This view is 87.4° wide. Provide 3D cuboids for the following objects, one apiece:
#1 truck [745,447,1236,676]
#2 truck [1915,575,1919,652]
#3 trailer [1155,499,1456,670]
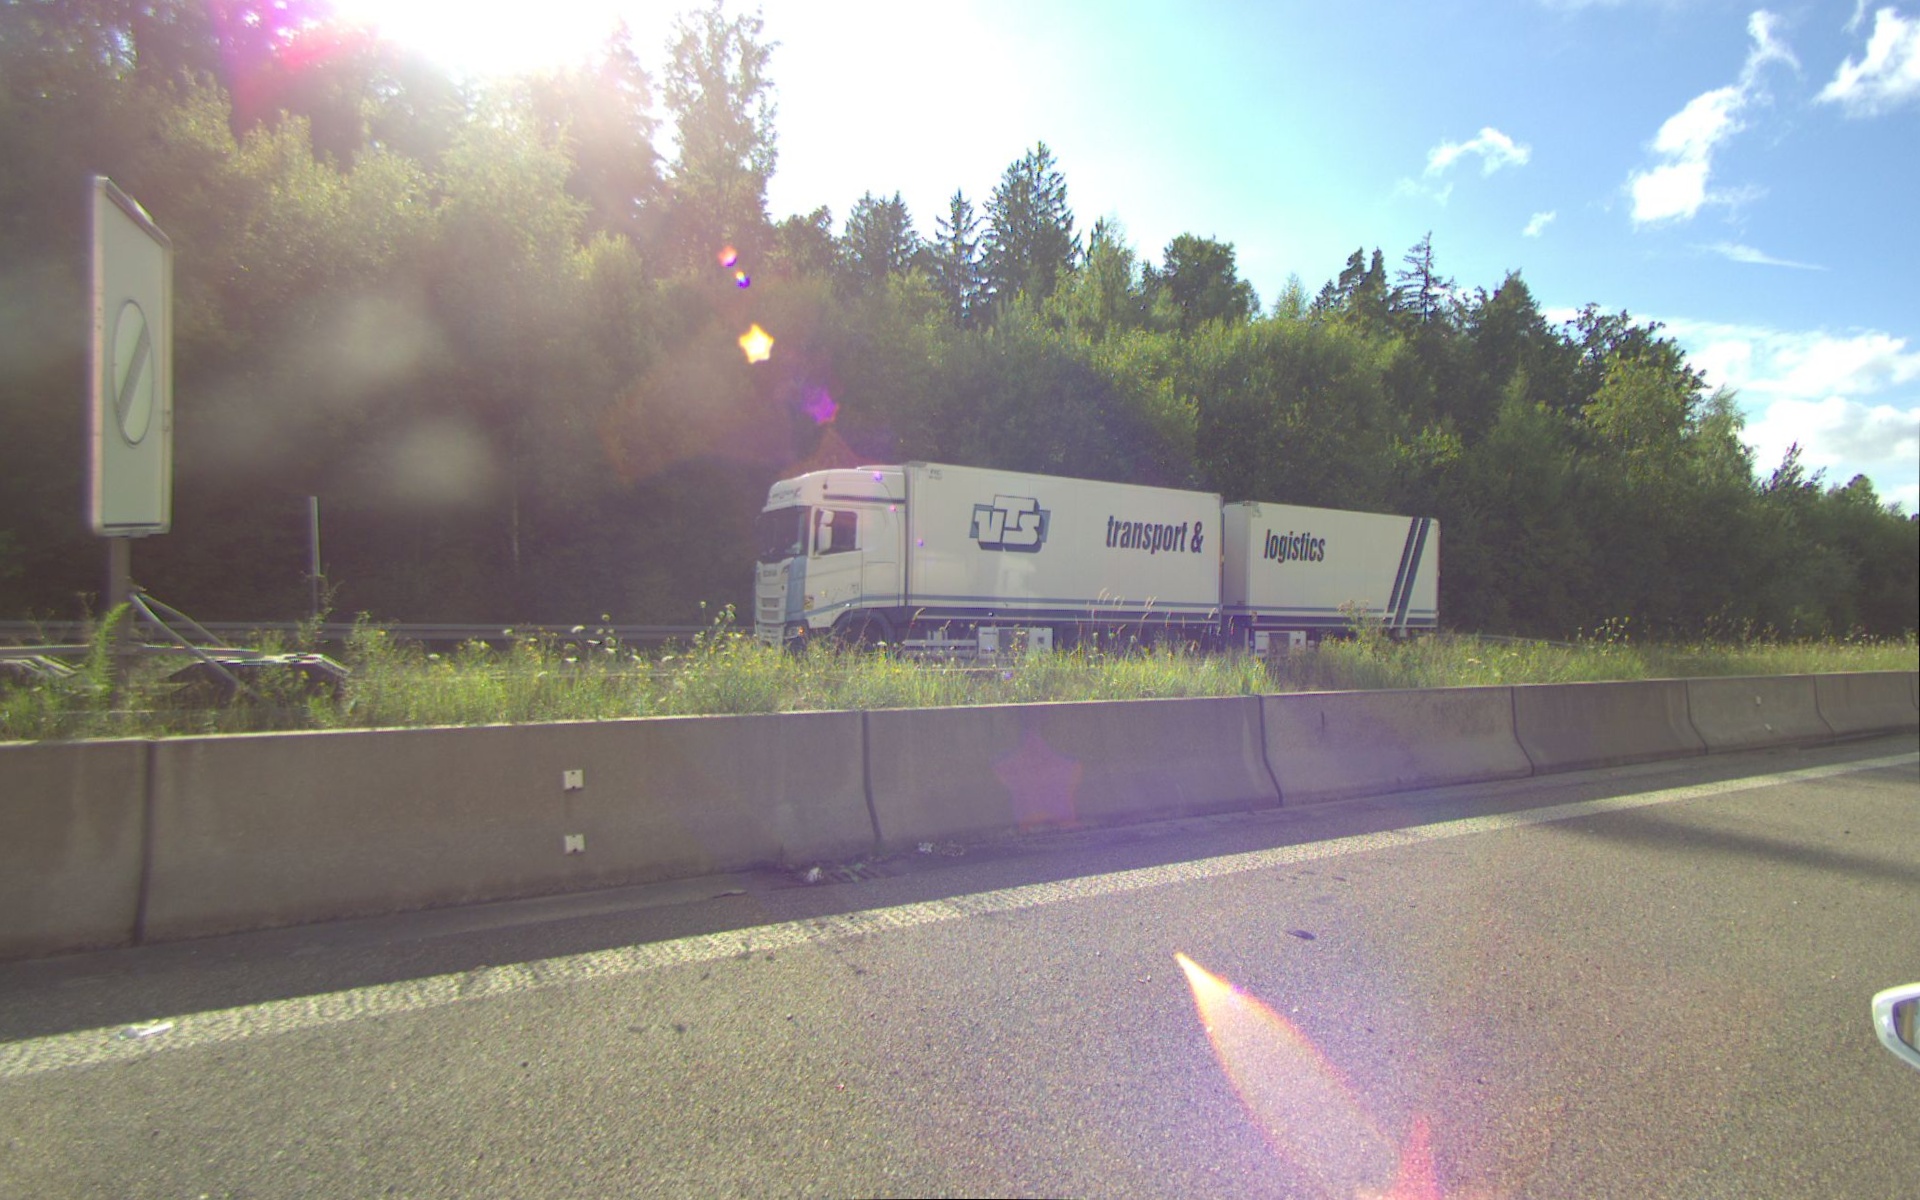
[{"bbox_3d":[1.044,-0.540,21.659,10.738,4.038,2.768,2,0,-31],"label":"truck"},{"bbox_3d":[55.380,0.799,54.292,10.066,4.045,2.787,1,0,-31],"label":"truck"},{"bbox_3d":[9.339,-0.259,26.715,8.392,3.975,2.776,2,0,-31],"label":"trailer"}]
